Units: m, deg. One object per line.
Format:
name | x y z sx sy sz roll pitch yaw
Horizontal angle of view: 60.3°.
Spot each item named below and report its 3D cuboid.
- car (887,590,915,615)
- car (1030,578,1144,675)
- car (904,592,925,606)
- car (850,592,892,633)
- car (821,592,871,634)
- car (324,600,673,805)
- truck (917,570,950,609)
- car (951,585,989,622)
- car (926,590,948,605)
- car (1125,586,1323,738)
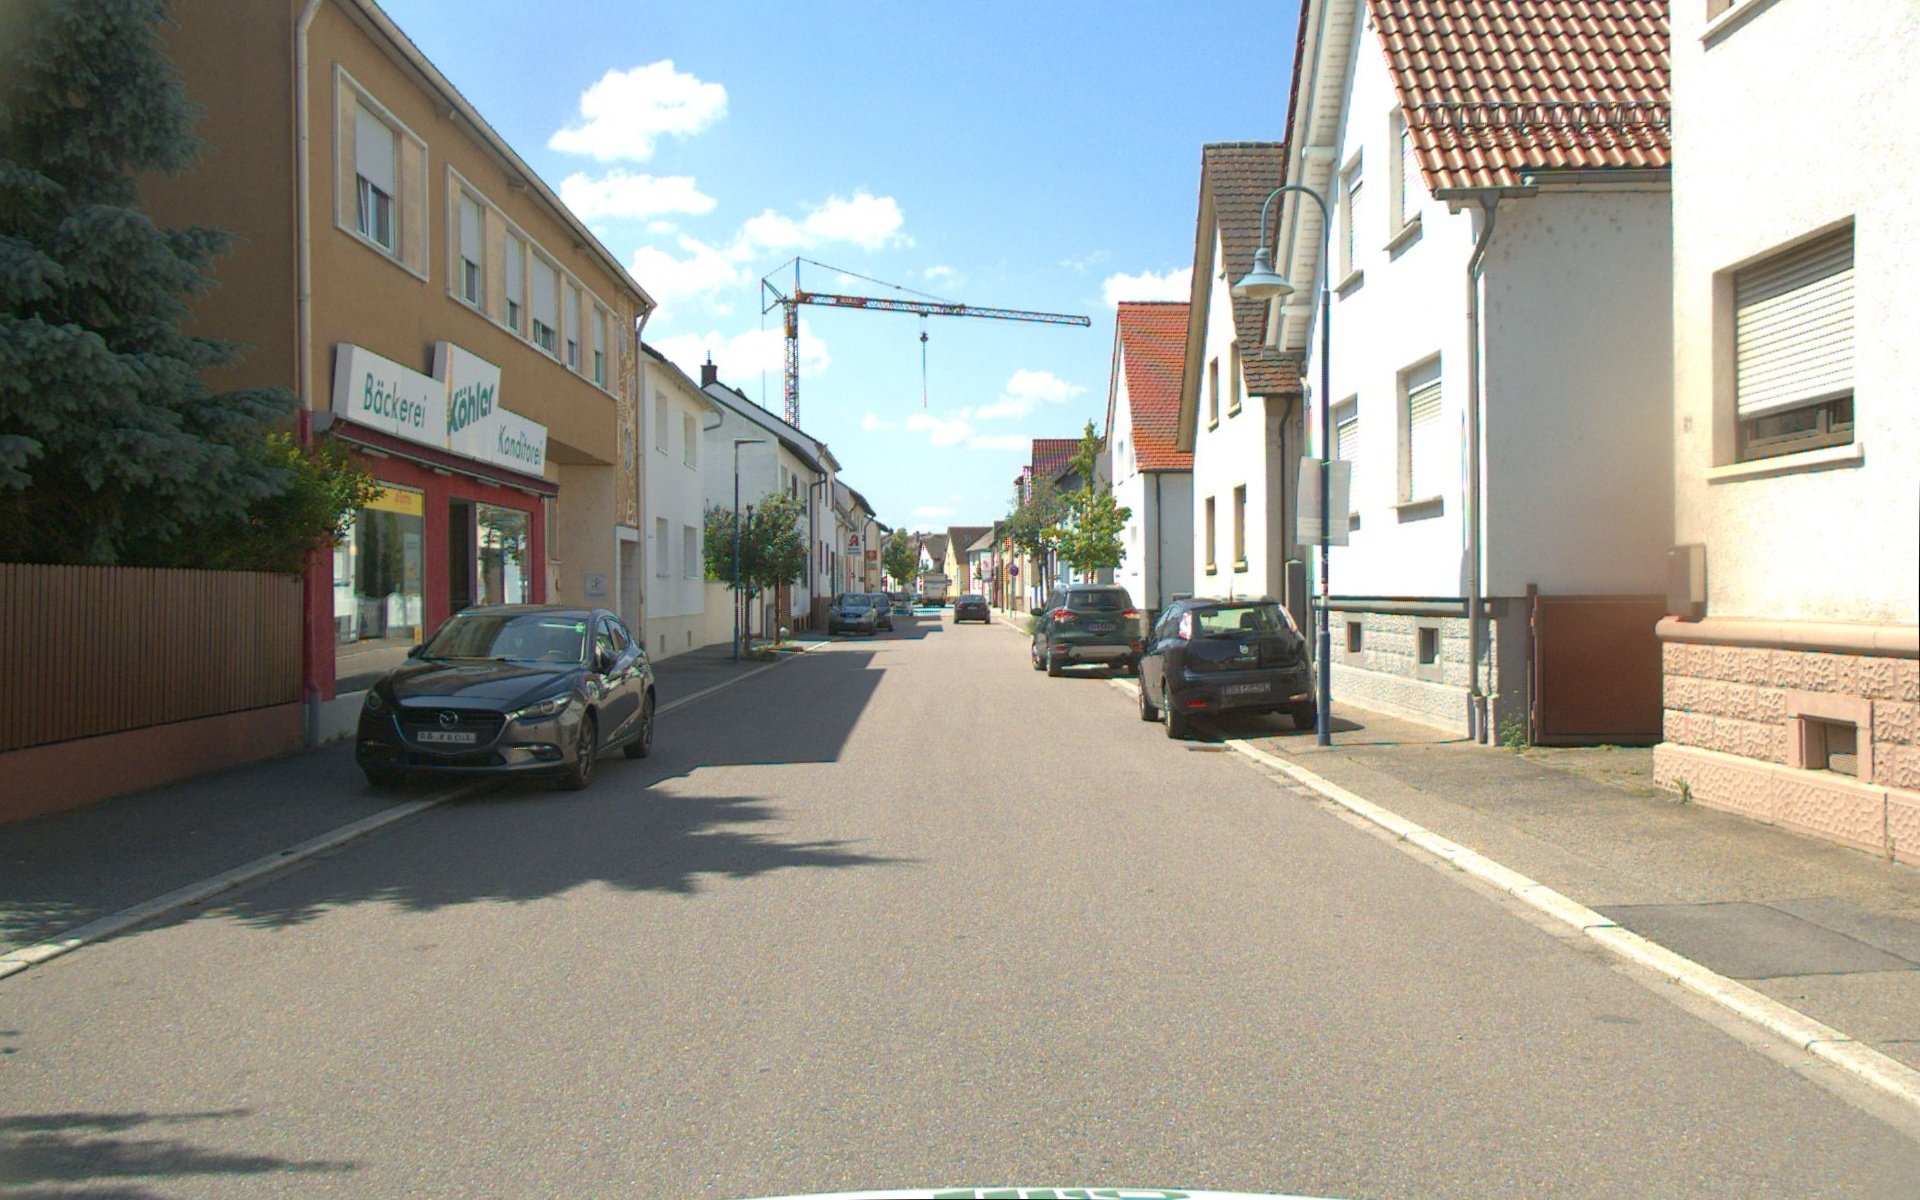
car | -3.931 0.156 110.038 1.688 1.583 4.172 1 0 0
car | 2.404 0.474 32.215 1.694 1.747 4.273 -1 0 -3
car | -6.206 -0.102 226.419 1.792 1.784 4.210 -1 0 -16
car | -3.762 0.505 70.520 1.620 1.637 4.060 -1 0 -1
car | -4.373 0.481 63.980 1.723 1.551 4.288 -1 0 -1
car | -3.815 0.760 14.501 1.731 1.485 4.437 0 0 1
truck | -2.949 -1.098 180.623 3.311 3.933 13.920 -1 0 -2
car | 0.491 0.181 83.490 1.747 1.784 3.999 -2 0 -2
car | -2.995 -0.310 217.090 1.755 1.784 4.208 -1 0 -17
car | 3.011 0.648 19.597 1.584 1.521 3.971 -3 0 -1
